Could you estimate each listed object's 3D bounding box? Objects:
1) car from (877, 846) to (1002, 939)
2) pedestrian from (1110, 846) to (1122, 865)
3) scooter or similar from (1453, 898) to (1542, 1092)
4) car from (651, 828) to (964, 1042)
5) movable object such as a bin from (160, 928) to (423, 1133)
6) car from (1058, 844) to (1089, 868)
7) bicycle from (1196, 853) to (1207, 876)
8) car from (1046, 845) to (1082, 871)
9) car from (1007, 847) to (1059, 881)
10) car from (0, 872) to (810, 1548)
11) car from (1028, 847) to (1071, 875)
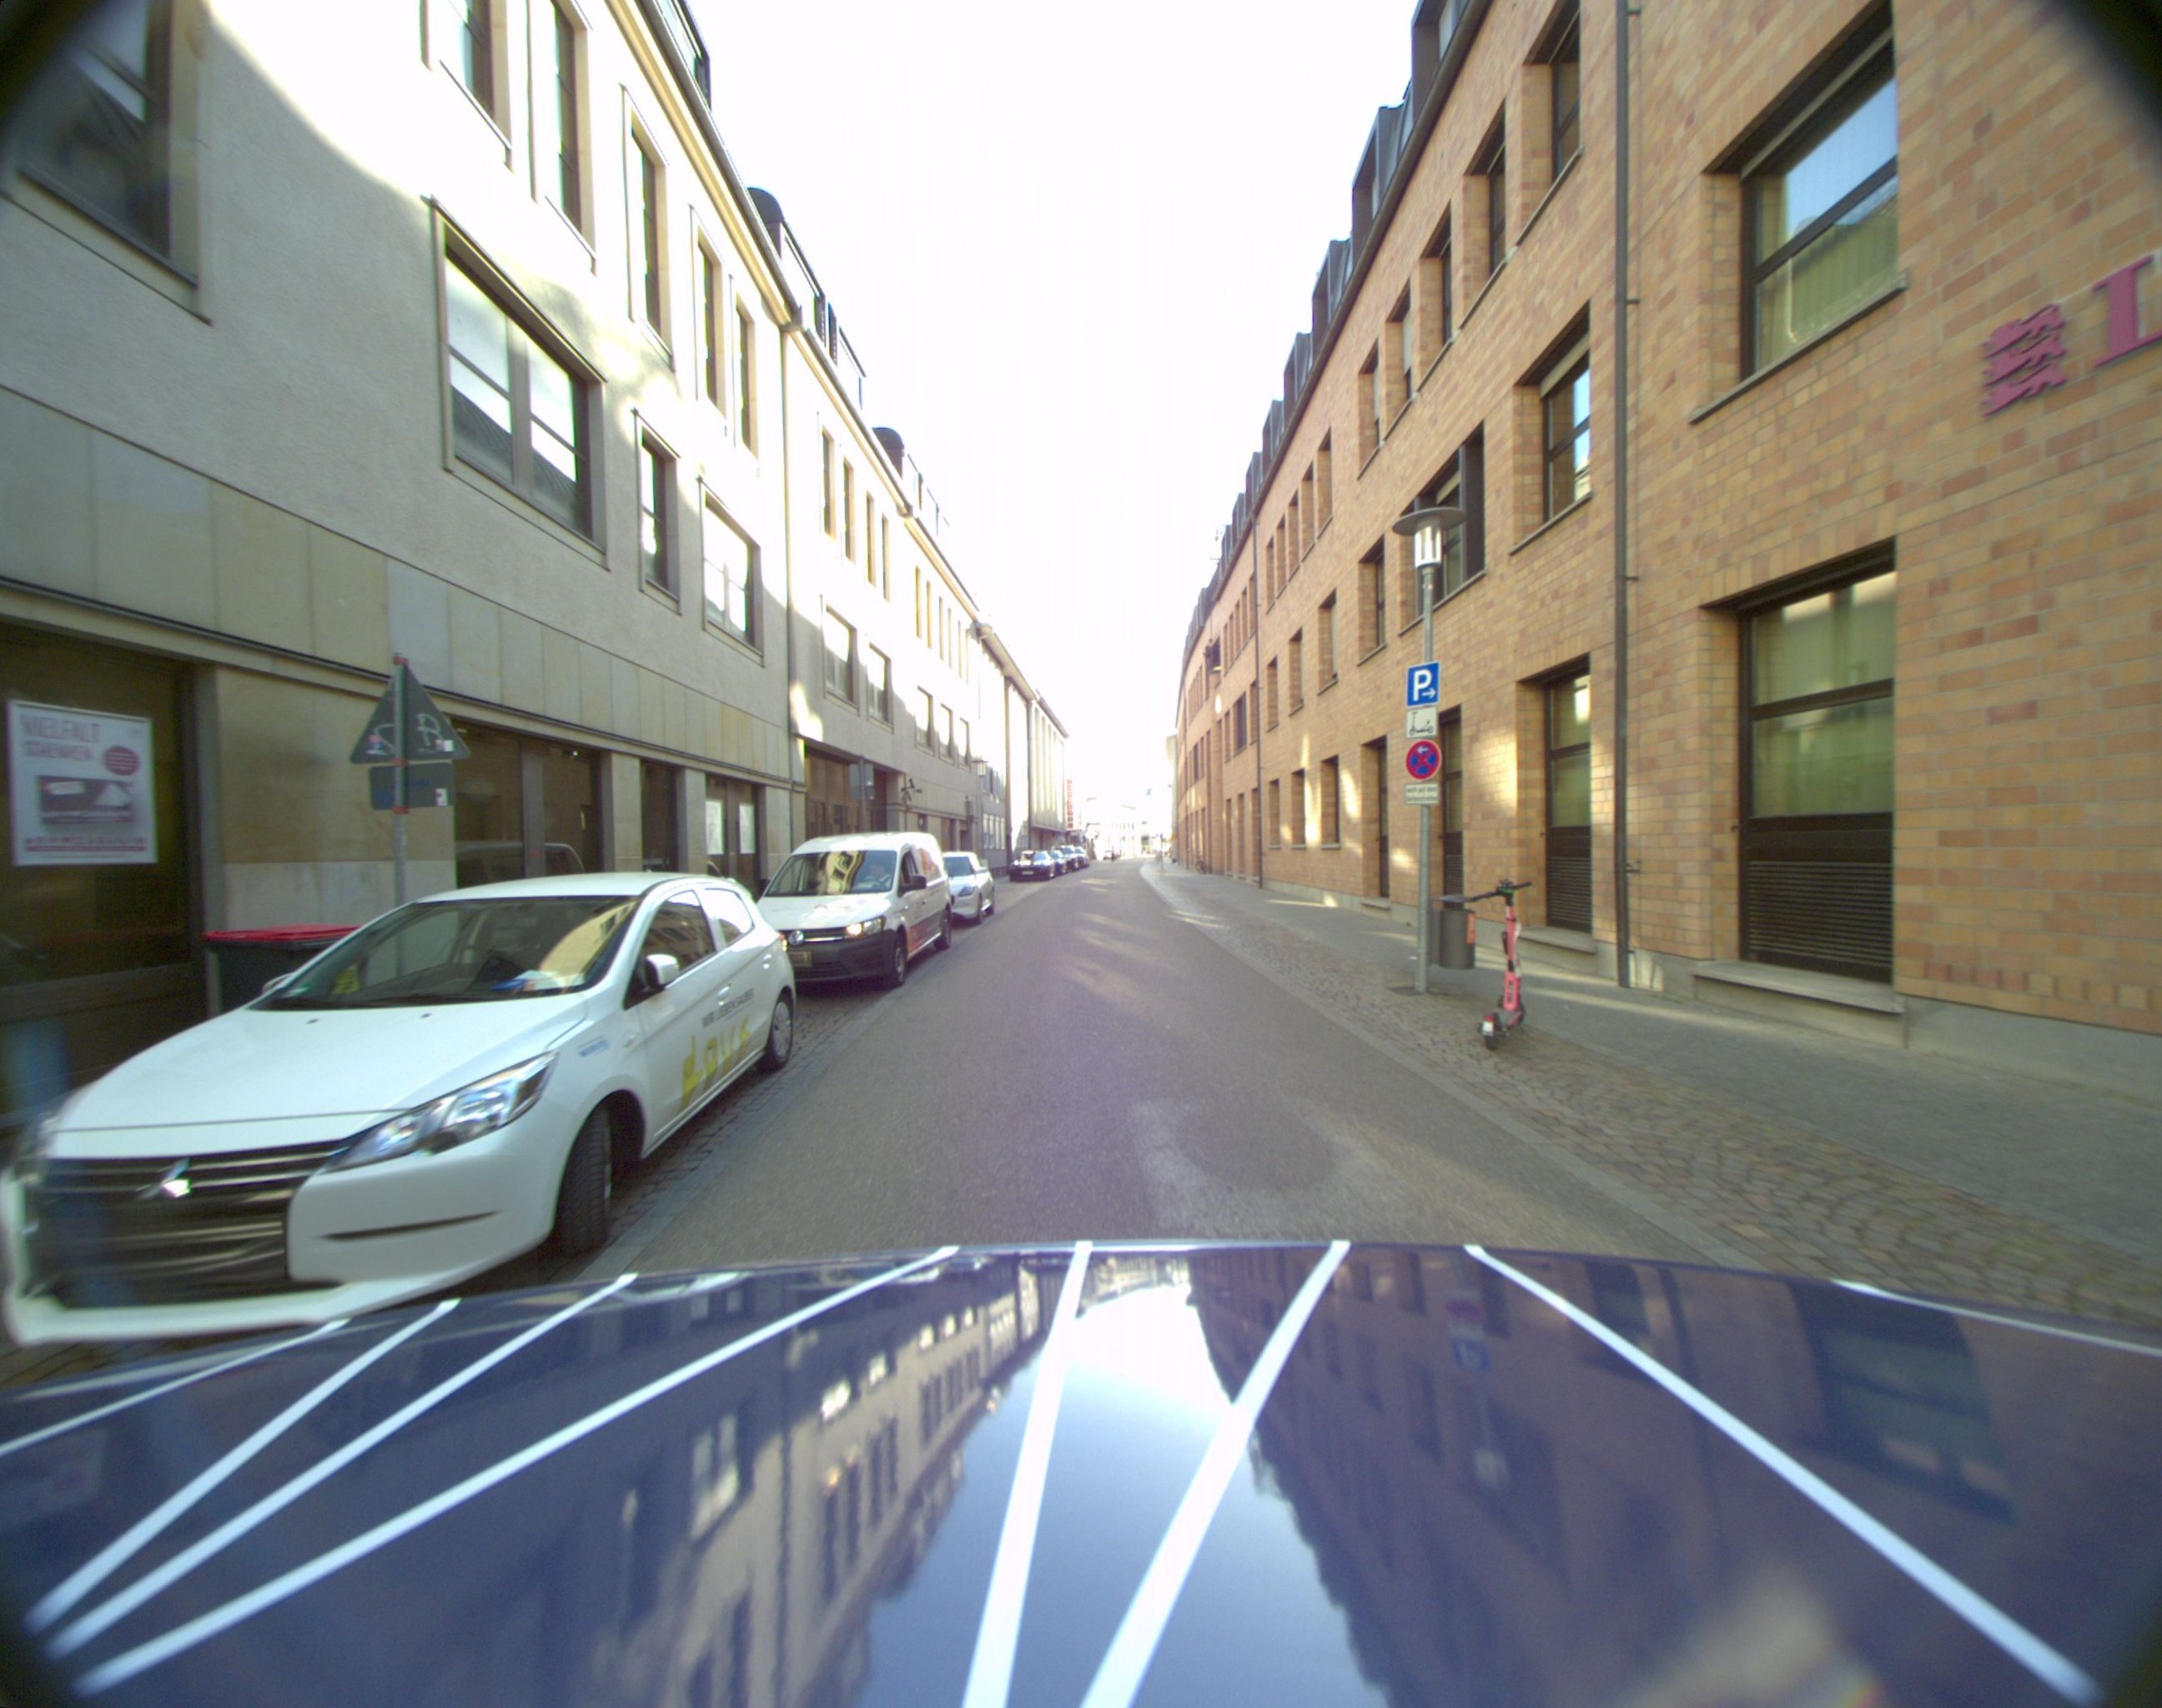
[{"bbox_3d":[-2.864,0.704,16.201,1.776,1.575,3.856,-5,1,0],"label":"car"},{"bbox_3d":[3.751,0.114,81.495,0.945,2.002,0.898,-2,1,-17],"label":"pedestrian"},{"bbox_3d":[3.170,0.982,5.742,0.467,1.217,1.302,0,0,34],"label":"scooter or similar"},{"bbox_3d":[-2.985,0.731,9.781,1.947,1.851,5.193,-5,1,0],"label":"car"},{"bbox_3d":[-5.040,1.081,4.932,0.688,1.080,0.929,-2,1,-4],"label":"movable object such as a bin"},{"bbox_3d":[-0.545,0.100,56.760,1.965,1.637,4.196,-3,1,3],"label":"car"},{"bbox_3d":[6.166,0.513,38.934,0.431,1.137,1.690,-2,1,5],"label":"bicycle"},{"bbox_3d":[-1.046,0.222,49.173,1.965,1.527,4.196,-3,1,3],"label":"car"},{"bbox_3d":[-2.274,0.433,36.890,1.965,1.400,4.196,-3,1,3],"label":"car"},{"bbox_3d":[-2.851,0.960,3.893,1.736,1.539,3.998,-2,1,-5],"label":"car"},{"bbox_3d":[-1.741,0.369,43.354,1.965,1.400,4.196,-3,1,3],"label":"car"}]
